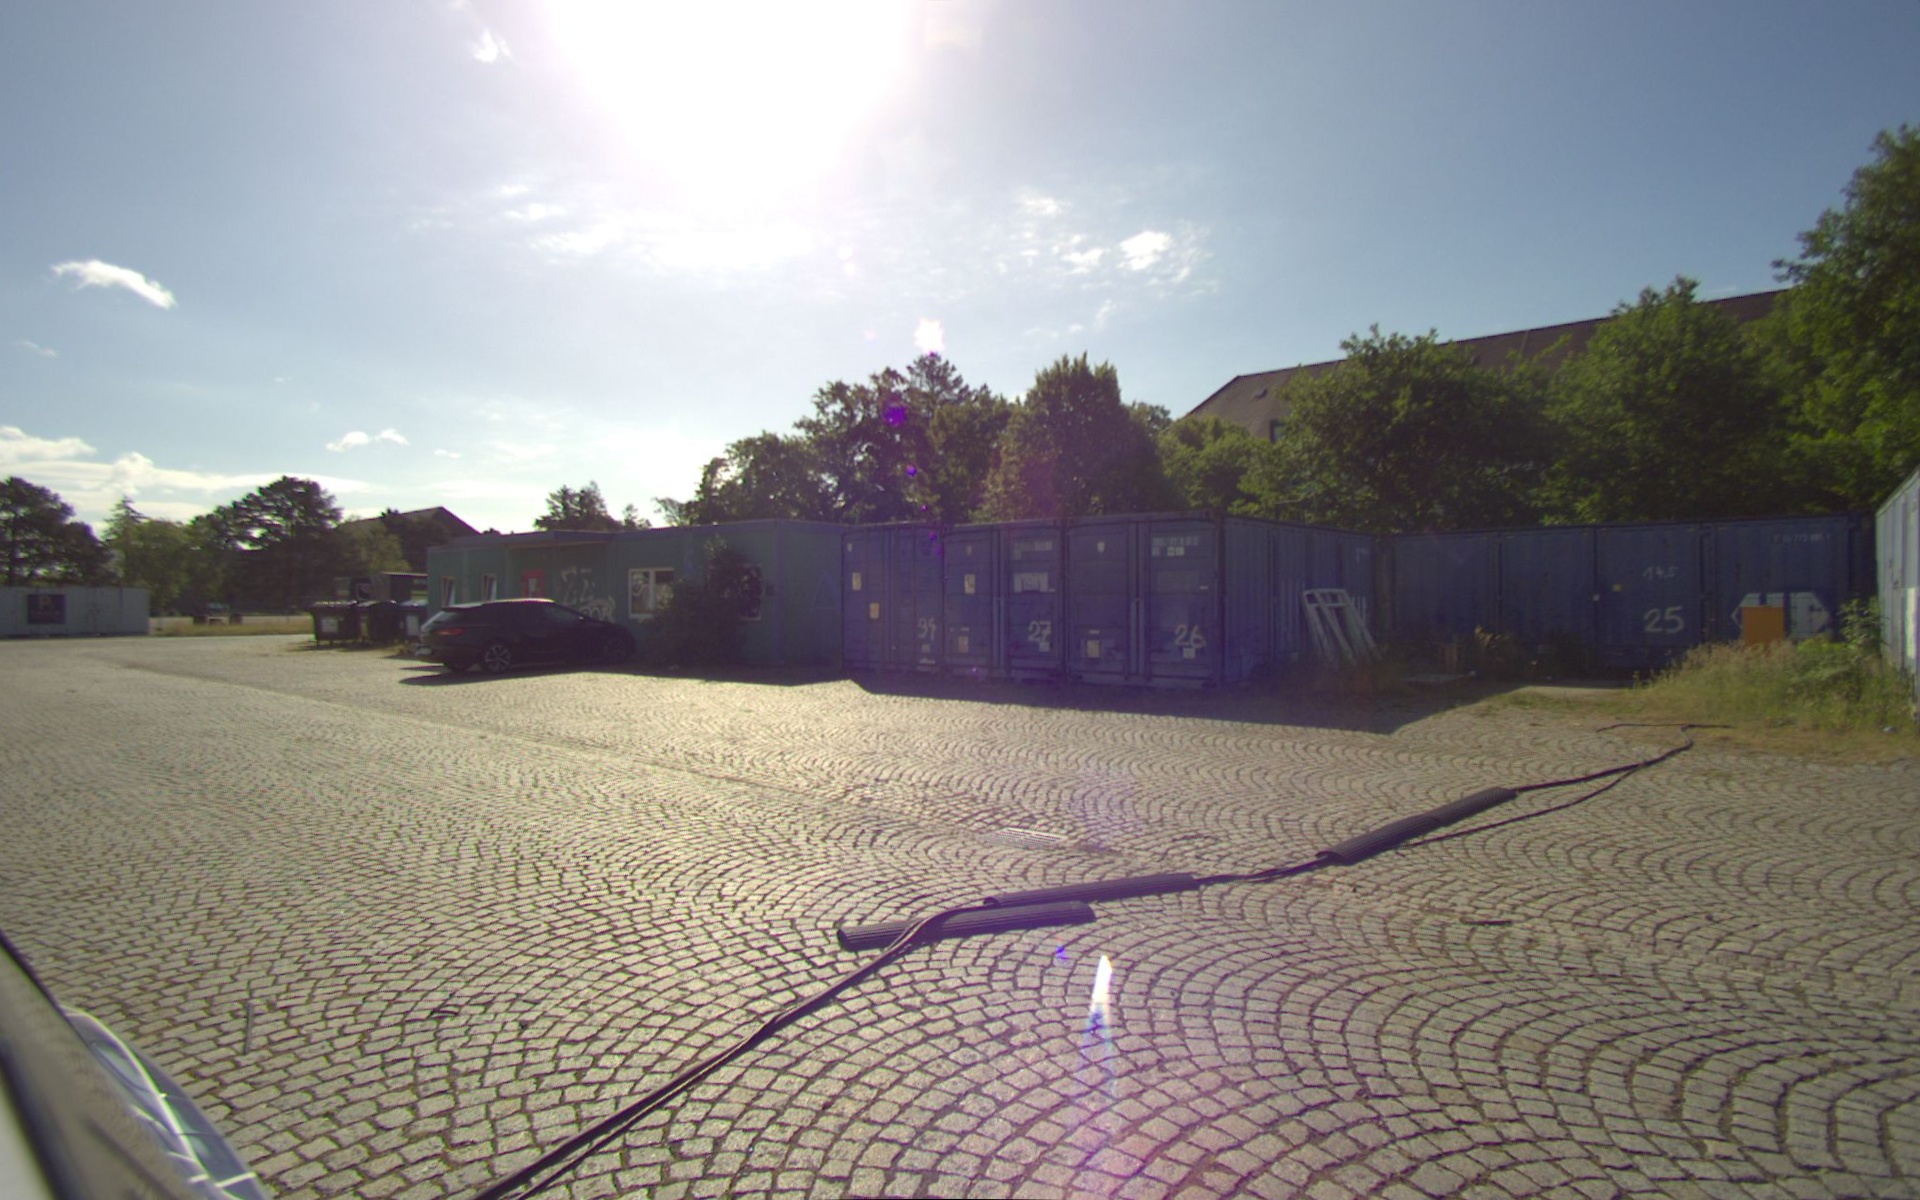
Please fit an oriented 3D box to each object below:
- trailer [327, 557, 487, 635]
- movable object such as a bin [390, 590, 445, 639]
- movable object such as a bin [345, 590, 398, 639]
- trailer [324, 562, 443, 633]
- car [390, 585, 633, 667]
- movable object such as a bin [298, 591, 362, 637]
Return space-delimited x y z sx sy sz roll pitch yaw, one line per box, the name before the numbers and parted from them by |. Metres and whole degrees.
trailer | -19.519 -0.197 35.913 1.948 2.587 4.594 0 2 36
movable object such as a bin | -16.842 0.438 31.426 1.435 1.469 0.876 0 1 30
movable object such as a bin | -18.590 0.441 31.957 1.439 1.469 1.007 0 2 40
trailer | -21.352 -0.123 37.538 2.043 2.488 3.349 0 2 41
car | -9.179 0.460 20.992 1.929 1.460 4.210 0 2 38
movable object such as a bin | -20.500 0.441 32.965 1.416 1.469 1.158 -1 1 -6
